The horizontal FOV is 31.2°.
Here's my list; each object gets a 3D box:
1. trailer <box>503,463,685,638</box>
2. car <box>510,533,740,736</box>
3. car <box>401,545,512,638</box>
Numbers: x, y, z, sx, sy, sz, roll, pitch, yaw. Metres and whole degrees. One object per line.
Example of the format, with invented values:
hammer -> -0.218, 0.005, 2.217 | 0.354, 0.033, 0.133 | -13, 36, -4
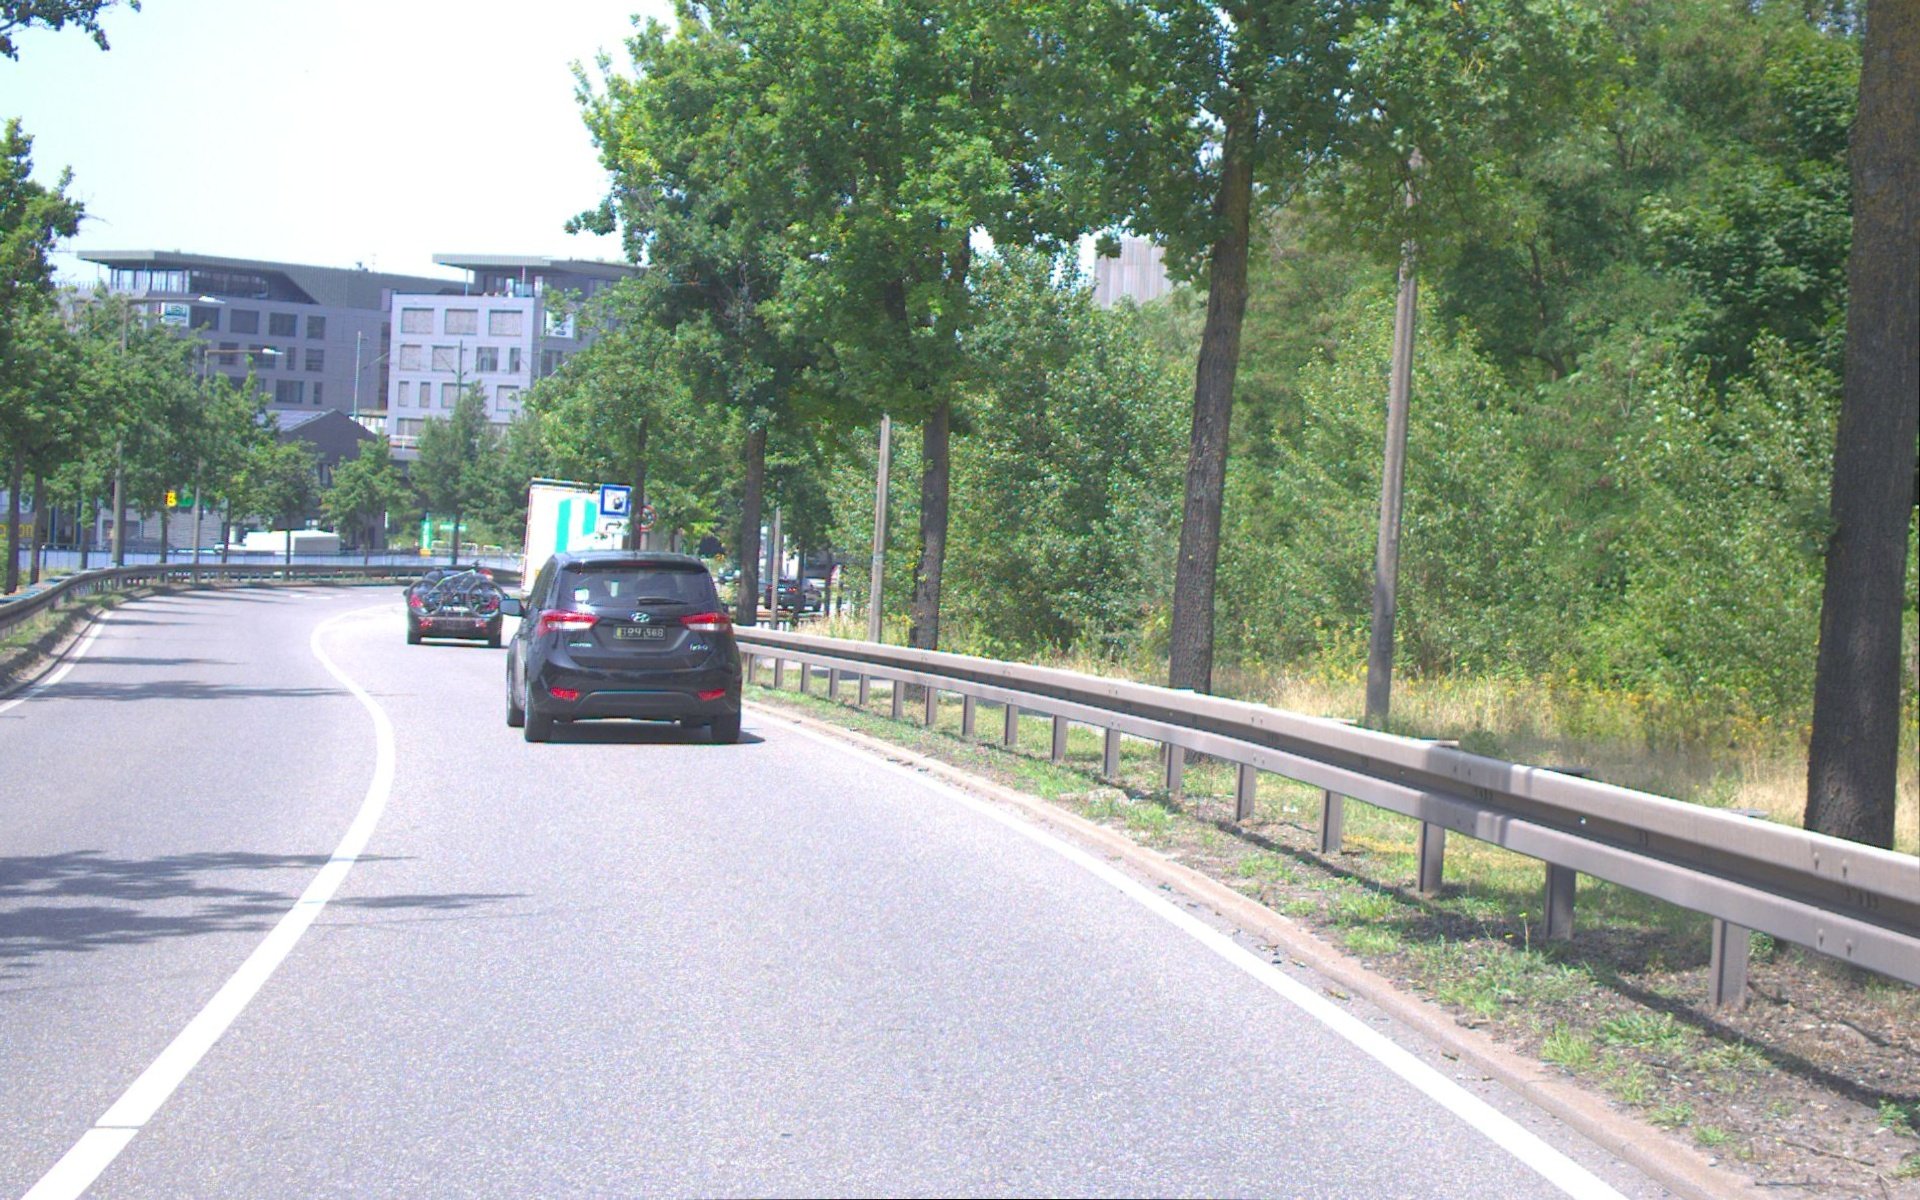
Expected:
trailer -> -10.023, -1.478, 95.854 | 3.078, 4.353, 14.775 | 3, 2, 1
car -> -2.943, 0.277, 29.540 | 1.766, 1.594, 4.078 | 1, 0, -8
car -> -9.507, -0.170, 65.114 | 1.956, 1.628, 4.281 | 2, 0, -8
